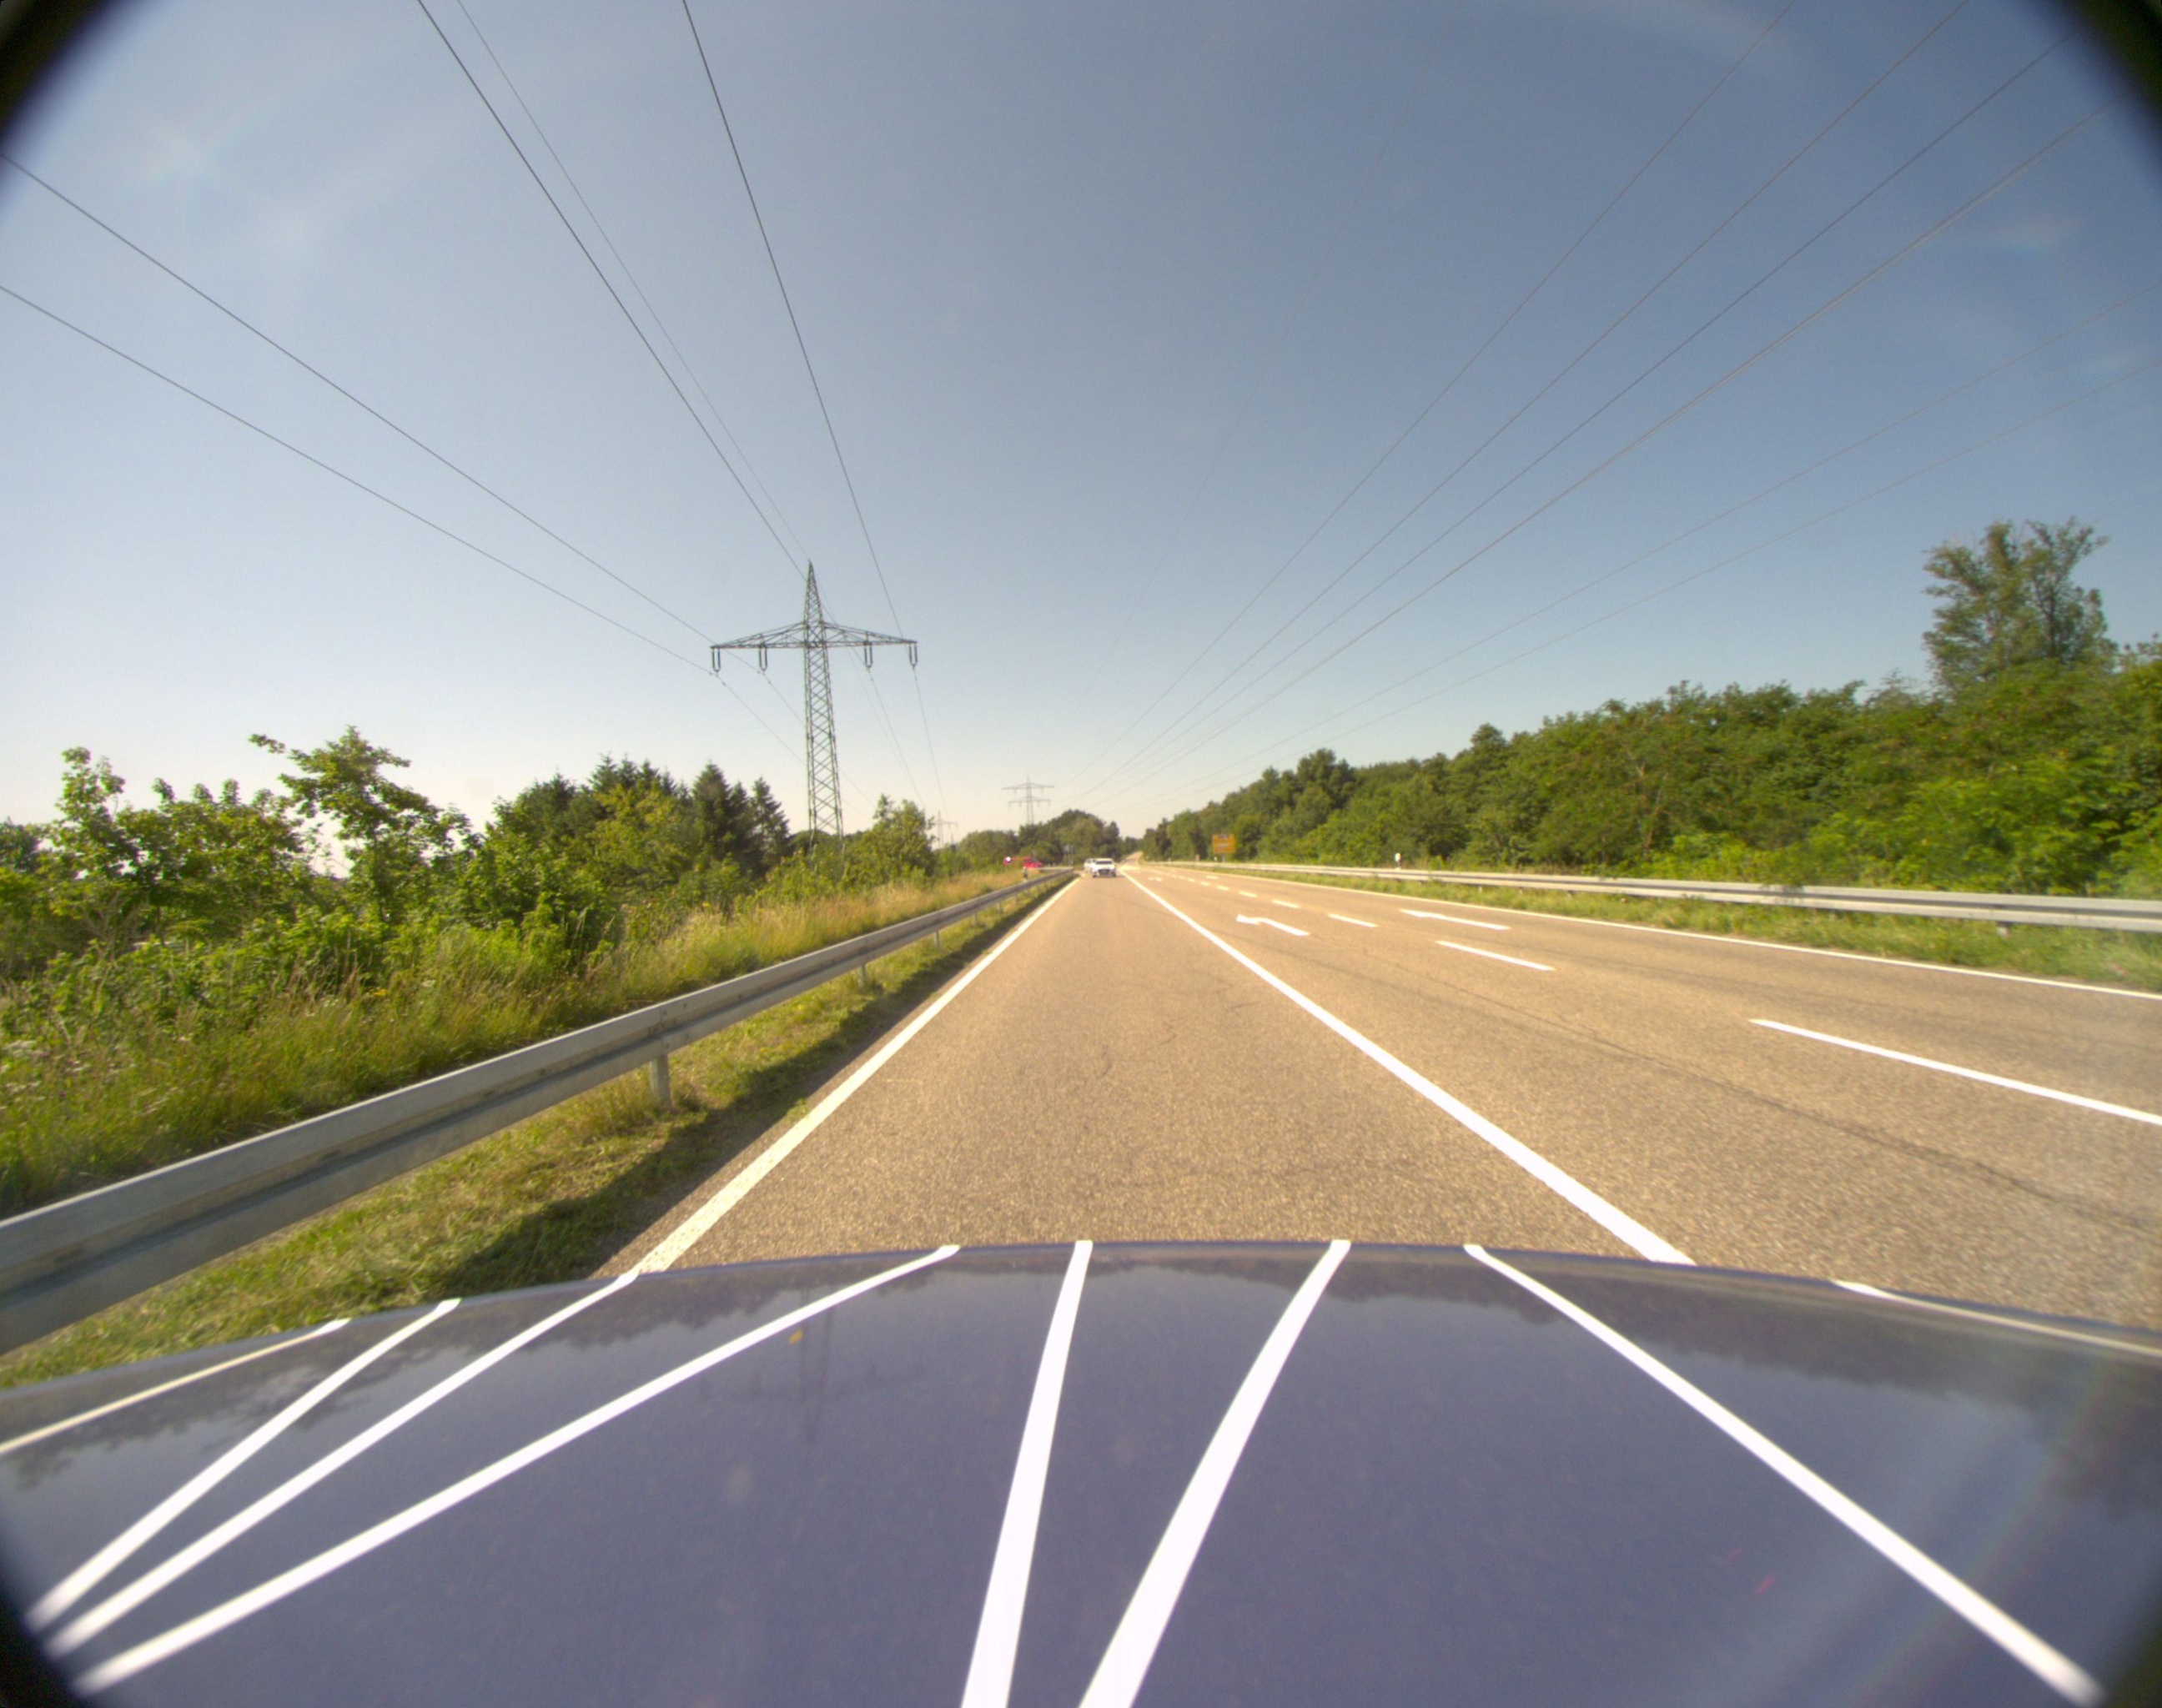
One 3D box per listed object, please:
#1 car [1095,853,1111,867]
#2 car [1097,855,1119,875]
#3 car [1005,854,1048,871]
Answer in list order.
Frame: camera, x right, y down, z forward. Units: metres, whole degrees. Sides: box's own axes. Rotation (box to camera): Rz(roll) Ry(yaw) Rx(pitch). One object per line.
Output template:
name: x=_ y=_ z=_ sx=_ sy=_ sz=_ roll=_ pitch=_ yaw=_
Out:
car: x=2.310 y=0.647 z=81.004 sx=1.549 sy=1.460 sz=3.661 roll=-2 pitch=0 yaw=0
car: x=2.134 y=0.866 z=61.324 sx=1.683 sy=1.472 sz=4.473 roll=-1 pitch=0 yaw=2
car: x=-6.522 y=0.995 z=91.185 sx=4.827 sy=1.892 sz=1.798 roll=-1 pitch=0 yaw=19
